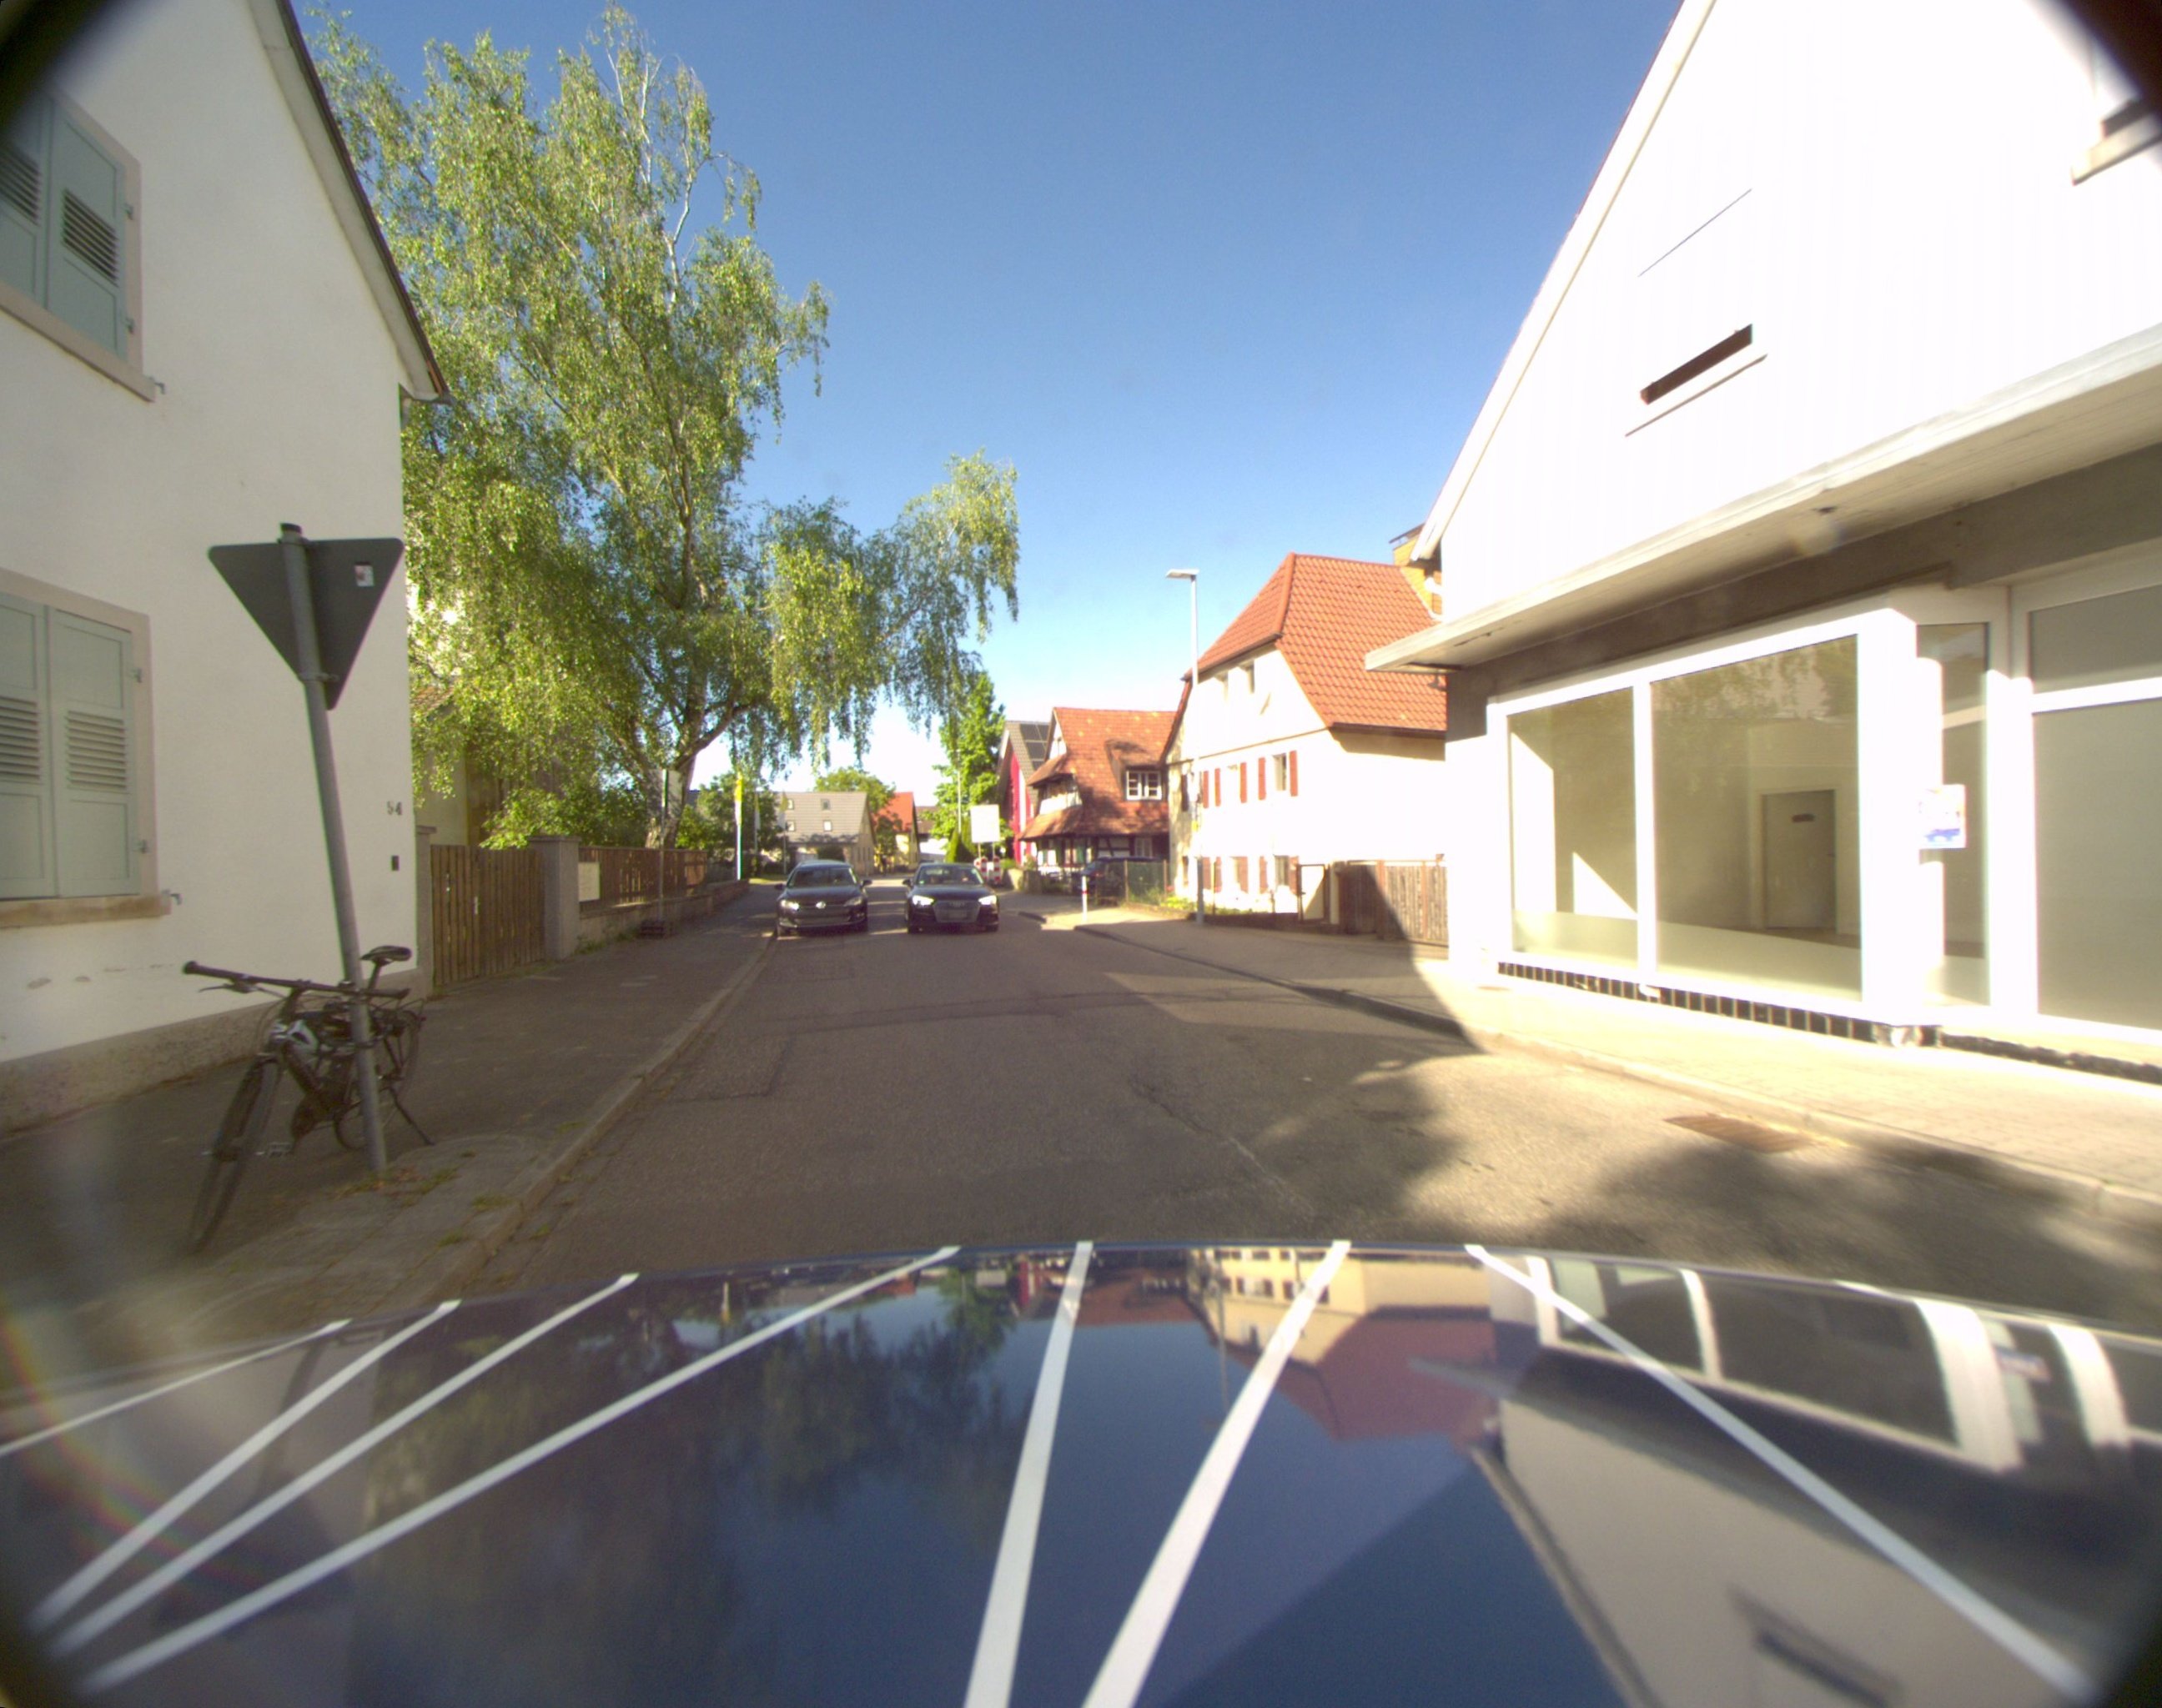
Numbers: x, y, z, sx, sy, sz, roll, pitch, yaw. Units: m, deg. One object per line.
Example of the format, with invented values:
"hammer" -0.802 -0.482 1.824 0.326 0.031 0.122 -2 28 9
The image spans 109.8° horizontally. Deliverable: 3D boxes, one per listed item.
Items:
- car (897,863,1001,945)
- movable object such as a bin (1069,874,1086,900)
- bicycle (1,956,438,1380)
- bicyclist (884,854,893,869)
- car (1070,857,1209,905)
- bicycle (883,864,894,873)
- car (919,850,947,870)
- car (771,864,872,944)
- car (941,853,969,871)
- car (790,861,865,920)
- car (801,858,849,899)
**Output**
"car" -3.009 0.956 16.539 1.810 1.469 4.338 -1 0 -15
"movable object such as a bin" -0.127 1.178 27.417 0.585 0.892 0.555 2 0 2
"bicycle" -3.527 1.123 3.358 0.437 1.073 1.886 0 1 -21
"bicyclist" -17.273 0.659 68.143 0.582 1.312 0.608 1 0 -2
"car" 1.919 0.894 25.025 4.177 1.453 1.845 2 0 -22
"bicycle" -17.261 1.313 68.147 0.582 0.757 1.799 1 0 -2
"car" -13.493 0.498 69.420 1.837 1.661 4.351 -2 1 -2
"car" -5.559 0.982 16.669 1.814 1.427 4.279 -1 0 -16
"car" -13.373 0.856 80.968 1.836 1.779 4.354 3 0 4
"car" -7.278 0.953 21.703 1.815 1.427 4.278 -1 0 -20
"car" -10.138 0.917 29.947 1.655 1.470 3.927 -1 0 -20
